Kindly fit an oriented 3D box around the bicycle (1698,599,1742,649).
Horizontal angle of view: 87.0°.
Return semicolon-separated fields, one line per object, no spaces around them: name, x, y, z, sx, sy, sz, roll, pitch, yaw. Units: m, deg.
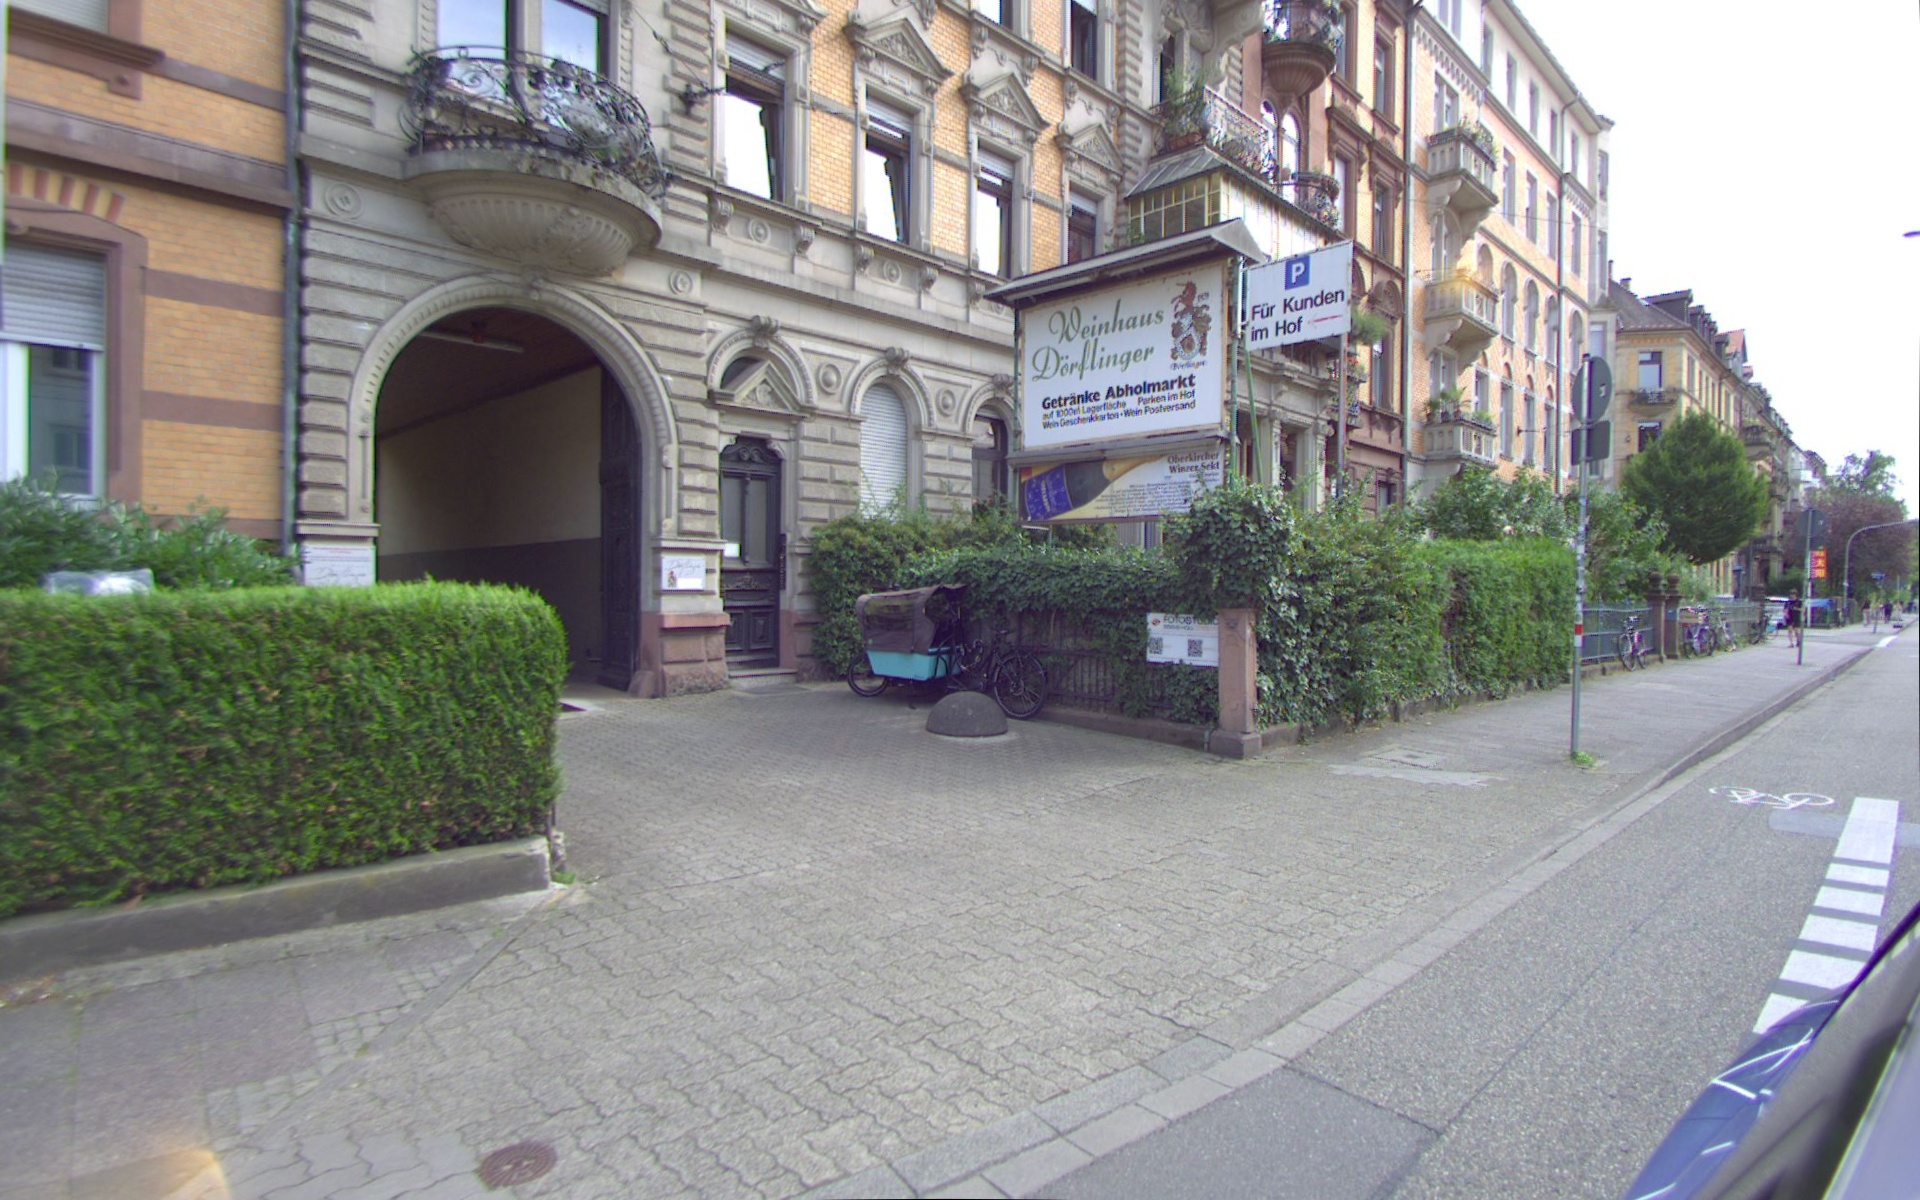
bicycle;18.336;0.561;24.398;0.579;1.125;1.645;6;4;44

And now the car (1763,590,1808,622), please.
car;42.083;0.264;51.599;1.749;1.544;3.943;1;1;40

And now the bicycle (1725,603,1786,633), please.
bicycle;32.446;0.727;41.301;0.522;1.142;1.896;0;1;-28

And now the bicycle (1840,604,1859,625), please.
bicycle;47.574;0.763;54.126;1.843;1.127;0.629;0;1;-44

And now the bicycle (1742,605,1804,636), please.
bicycle;30.831;0.780;38.377;1.838;1.127;0.631;1;0;-1

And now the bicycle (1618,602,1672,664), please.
bicycle;13.144;0.608;19.393;0.579;1.126;1.645;1;1;44

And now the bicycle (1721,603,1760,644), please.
bicycle;20.812;0.616;26.981;0.579;0.994;1.645;6;4;44

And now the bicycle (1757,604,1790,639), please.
bicycle;24.950;0.636;31.036;0.579;0.994;1.645;6;4;44

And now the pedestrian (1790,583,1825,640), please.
pedestrian;25.163;0.331;30.047;0.822;1.644;0.731;0;0;-45

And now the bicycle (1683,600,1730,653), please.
bicycle;16.976;0.588;23.011;0.579;1.125;1.645;6;4;44

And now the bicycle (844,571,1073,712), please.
bicycle;-0.091;0.366;10.678;2.623;1.328;0.758;1;1;44
